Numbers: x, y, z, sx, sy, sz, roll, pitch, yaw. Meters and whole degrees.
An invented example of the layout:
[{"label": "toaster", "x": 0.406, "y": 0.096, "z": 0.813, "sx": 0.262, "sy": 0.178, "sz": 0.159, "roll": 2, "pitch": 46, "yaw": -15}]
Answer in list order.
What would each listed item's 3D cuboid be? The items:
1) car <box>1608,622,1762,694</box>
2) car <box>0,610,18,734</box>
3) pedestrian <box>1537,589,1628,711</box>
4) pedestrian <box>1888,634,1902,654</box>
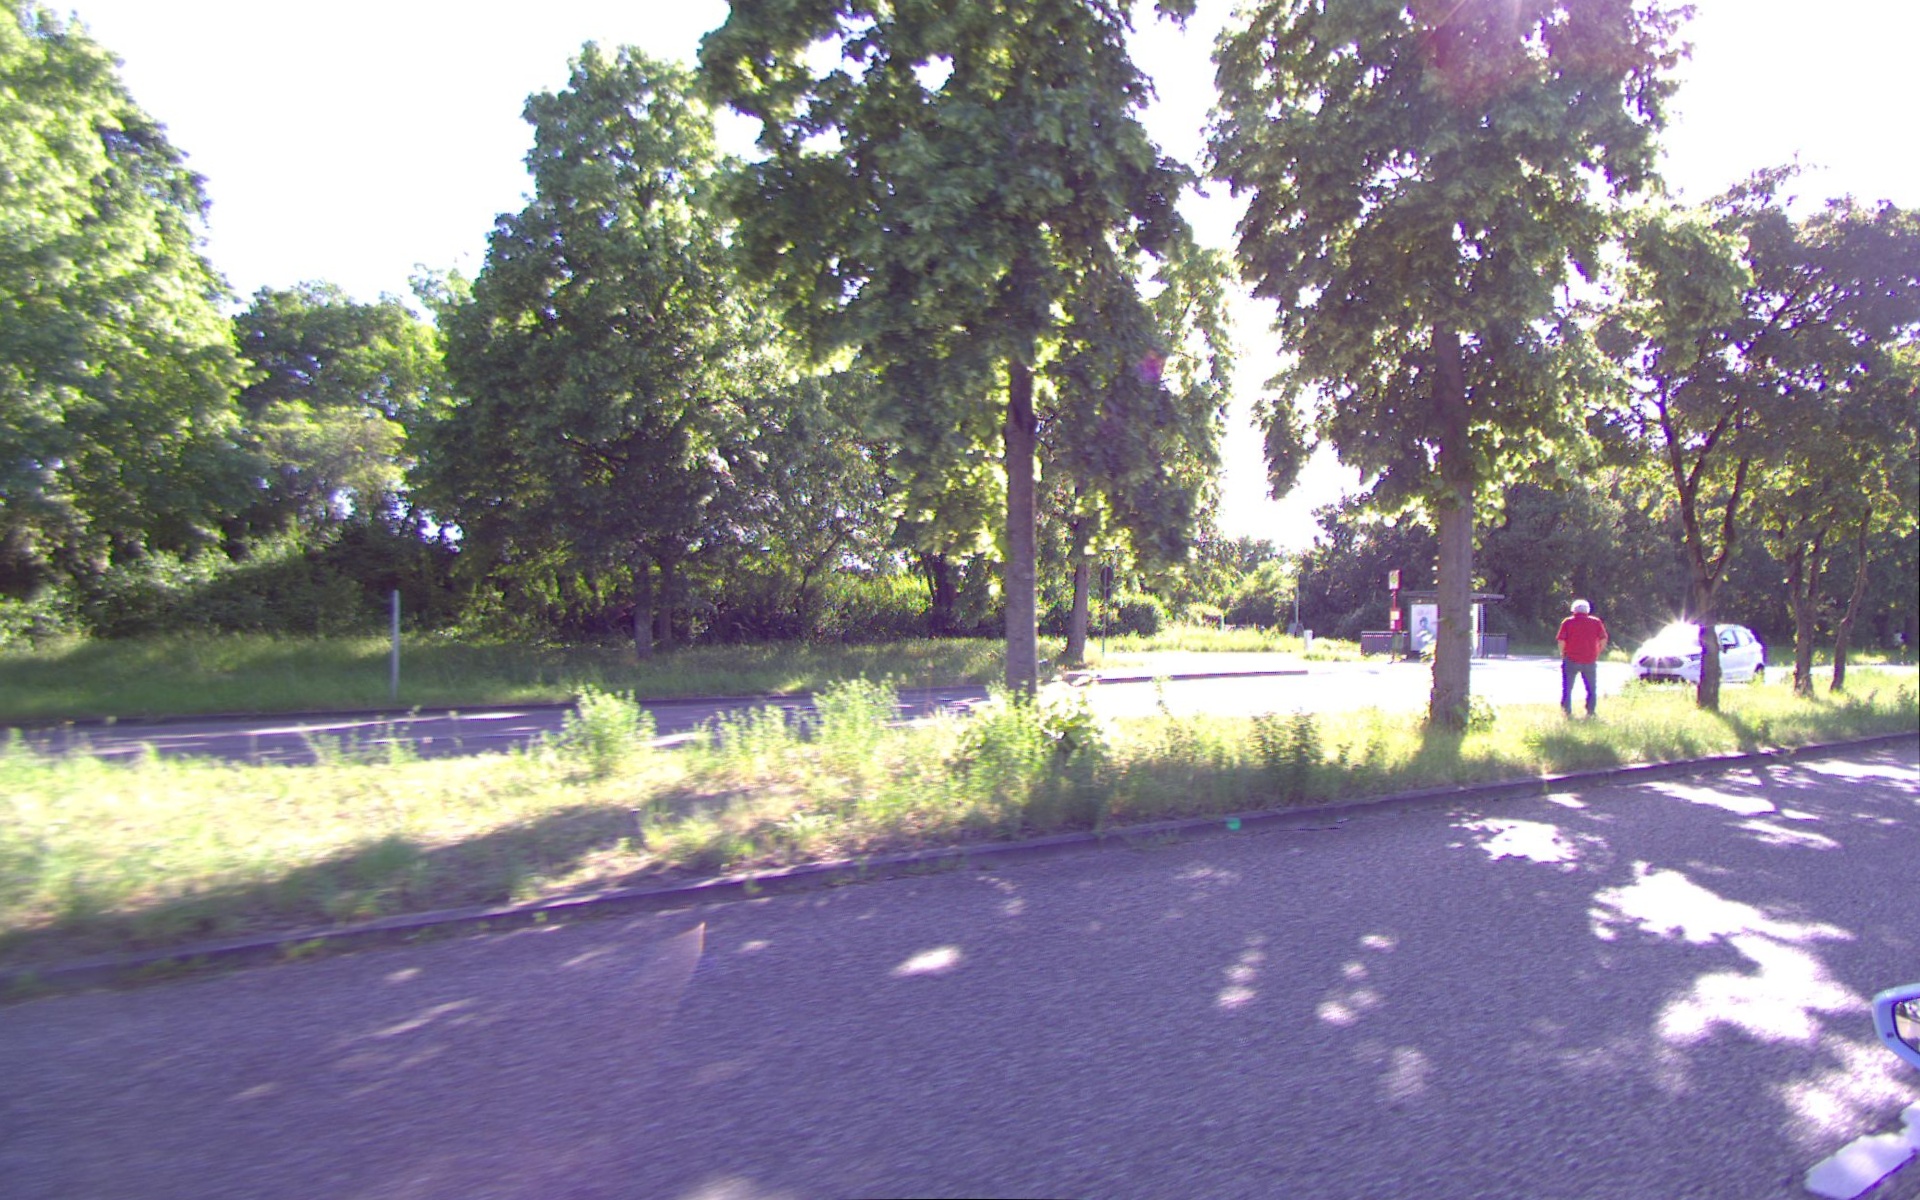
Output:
[{"label": "car", "x": 18.085, "y": 1.390, "z": 25.013, "sx": 4.152, "sy": 1.653, "sz": 1.721, "roll": 2, "pitch": -2, "yaw": -32}, {"label": "car", "x": -12.957, "y": 0.800, "z": 10.525, "sx": 4.204, "sy": 1.450, "sz": 1.533, "roll": 1, "pitch": -2, "yaw": -29}, {"label": "pedestrian", "x": 9.097, "y": 0.719, "z": 14.694, "sx": 0.924, "sy": 1.719, "sz": 0.632, "roll": 1, "pitch": 0, "yaw": -1}, {"label": "pedestrian", "x": 72.068, "y": 3.407, "z": 77.421, "sx": 0.907, "sy": 1.479, "sz": 0.541, "roll": 2, "pitch": -1, "yaw": -32}]
